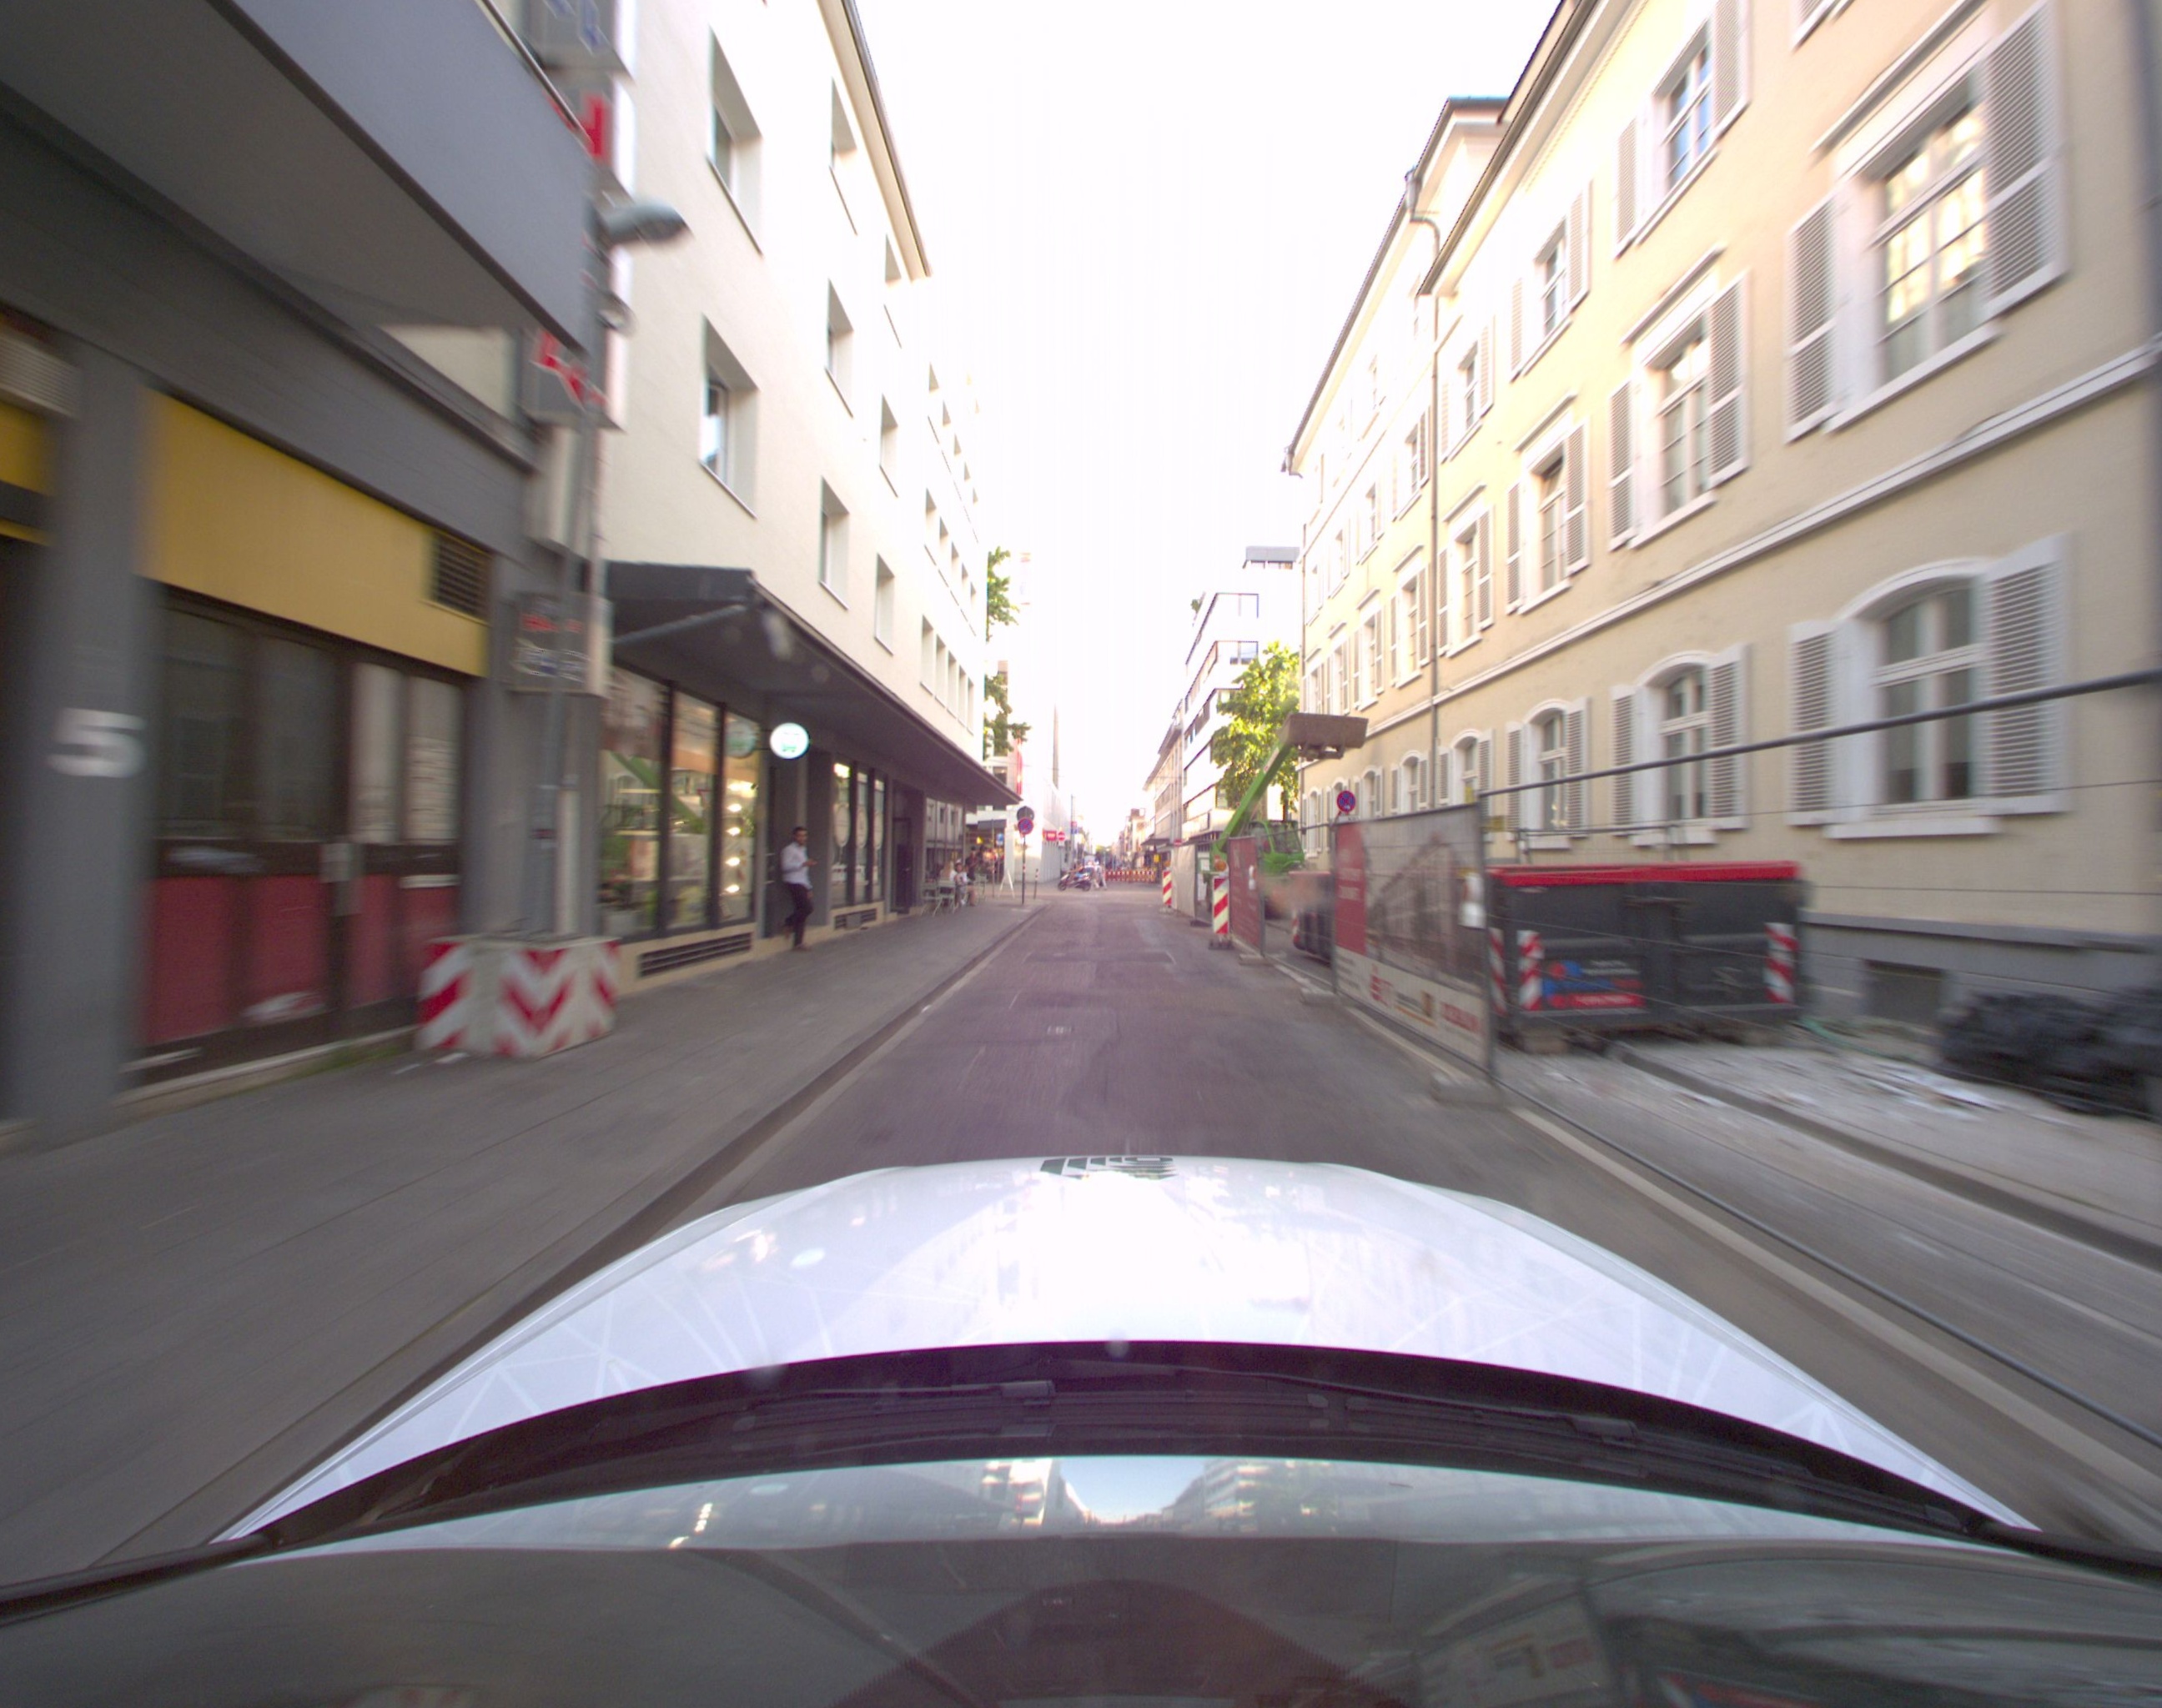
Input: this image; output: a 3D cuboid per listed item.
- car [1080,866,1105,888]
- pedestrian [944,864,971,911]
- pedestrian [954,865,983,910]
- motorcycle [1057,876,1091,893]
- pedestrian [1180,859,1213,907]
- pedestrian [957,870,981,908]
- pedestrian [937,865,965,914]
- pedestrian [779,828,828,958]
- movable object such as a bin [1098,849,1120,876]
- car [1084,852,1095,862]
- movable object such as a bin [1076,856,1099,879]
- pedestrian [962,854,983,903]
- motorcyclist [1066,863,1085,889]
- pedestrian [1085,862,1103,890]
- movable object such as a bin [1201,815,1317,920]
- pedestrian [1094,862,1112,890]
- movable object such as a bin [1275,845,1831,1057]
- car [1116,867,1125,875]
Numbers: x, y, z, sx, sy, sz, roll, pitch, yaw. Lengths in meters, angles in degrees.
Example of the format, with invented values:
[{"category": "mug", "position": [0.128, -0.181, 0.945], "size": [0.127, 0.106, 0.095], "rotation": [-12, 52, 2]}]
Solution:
[{"category": "car", "position": [0.815, 1.606, 58.127], "size": [1.625, 1.550, 3.140], "rotation": [0, -1, -2]}, {"category": "pedestrian", "position": [-3.504, 0.943, 23.106], "size": [0.571, 1.275, 0.714], "rotation": [3, -1, 1]}, {"category": "pedestrian", "position": [-3.323, 0.971, 24.110], "size": [0.699, 1.275, 0.714], "rotation": [3, -1, 1]}, {"category": "motorcycle", "position": [-0.362, 1.637, 43.975], "size": [1.753, 0.920, 0.640], "rotation": [1, -1, -9]}, {"category": "pedestrian", "position": [4.496, 1.126, 31.638], "size": [1.075, 1.835, 0.693], "rotation": [0, -1, -20]}, {"category": "pedestrian", "position": [-3.427, 1.057, 25.042], "size": [0.571, 1.114, 0.714], "rotation": [3, -1, 1]}, {"category": "pedestrian", "position": [-3.536, 0.953, 22.175], "size": [0.571, 1.275, 0.714], "rotation": [3, -1, 1]}, {"category": "pedestrian", "position": [-4.015, 0.549, 11.805], "size": [0.529, 1.834, 0.562], "rotation": [1, -1, -5]}, {"category": "movable object such as a bin", "position": [2.864, 0.859, 83.576], "size": [2.149, 2.664, 4.573], "rotation": [1, -1, 1]}, {"category": "car", "position": [1.598, 0.584, 153.224], "size": [1.986, 1.777, 4.001], "rotation": [0, -1, 1]}, {"category": "movable object such as a bin", "position": [0.637, 1.199, 73.412], "size": [1.986, 2.014, 4.002], "rotation": [0, -1, 2]}, {"category": "pedestrian", "position": [-3.743, 0.835, 28.077], "size": [0.502, 1.668, 0.688], "rotation": [2, -1, 4]}, {"category": "motorcyclist", "position": [-0.303, 1.174, 44.022], "size": [0.894, 1.388, 0.670], "rotation": [1, -1, -9]}, {"category": "pedestrian", "position": [0.741, 1.285, 47.432], "size": [0.615, 1.627, 0.862], "rotation": [1, -1, -41]}, {"category": "movable object such as a bin", "position": [5.138, 0.400, 24.273], "size": [2.595, 2.839, 4.451], "rotation": [0, -1, 2]}, {"category": "pedestrian", "position": [1.305, 1.257, 47.770], "size": [0.615, 1.627, 0.862], "rotation": [1, -1, -41]}, {"category": "movable object such as a bin", "position": [4.703, 0.824, 10.316], "size": [2.727, 1.638, 7.552], "rotation": [1, -1, 0]}, {"category": "car", "position": [9.593, 4.122, 197.284], "size": [1.986, 1.777, 4.001], "rotation": [0, -1, 1]}]
